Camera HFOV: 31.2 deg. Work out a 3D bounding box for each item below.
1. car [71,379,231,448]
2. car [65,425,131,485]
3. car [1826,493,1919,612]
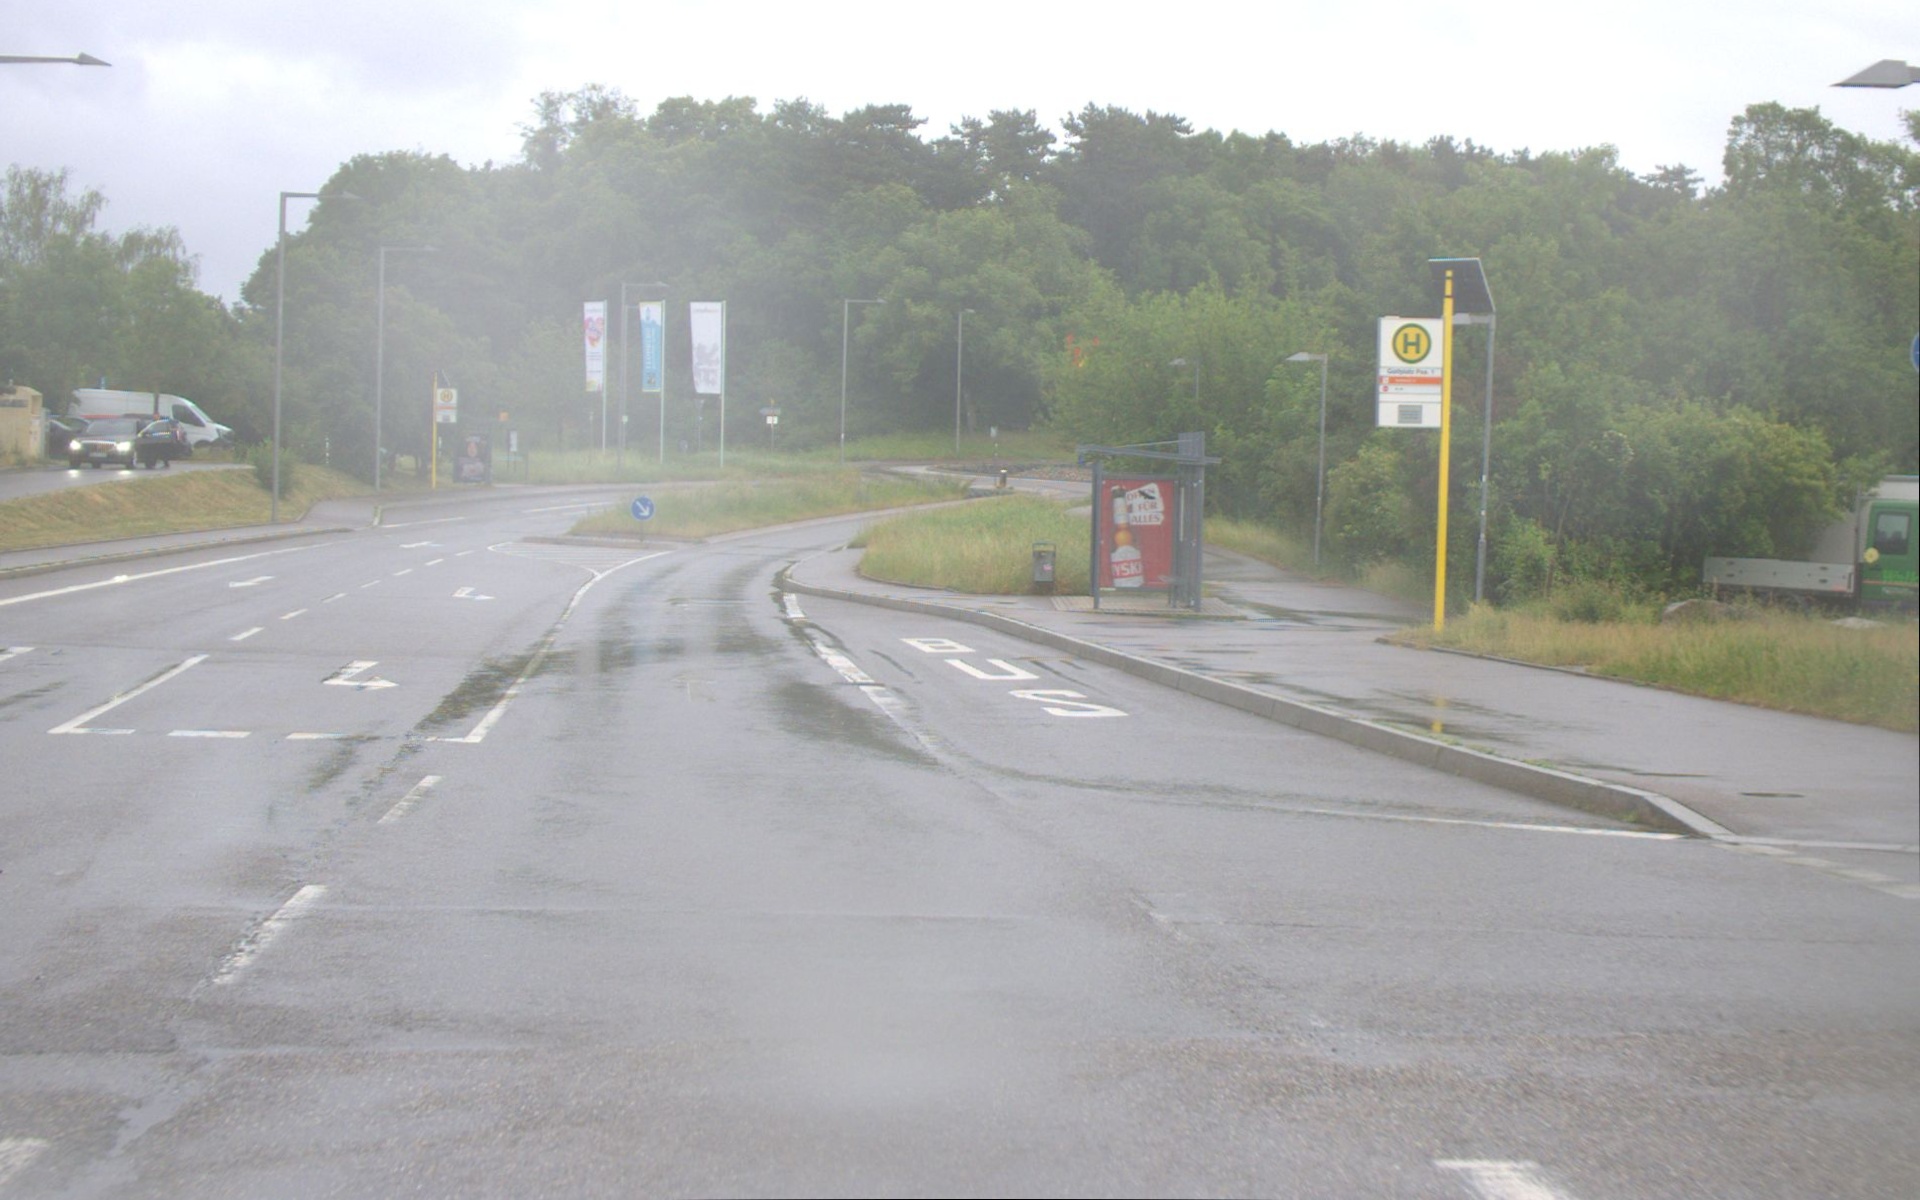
[{"bbox_3d":[-30.909,-7.119,131.461,5.675,2.396,2.000,1,1,-4],"label":"car"},{"bbox_3d":[-25.039,-4.194,99.836,1.688,1.615,3.896,1,1,-16],"label":"car"},{"bbox_3d":[15.196,-0.705,52.124,3.421,1.685,1.994,0,-3,45],"label":"car"}]
